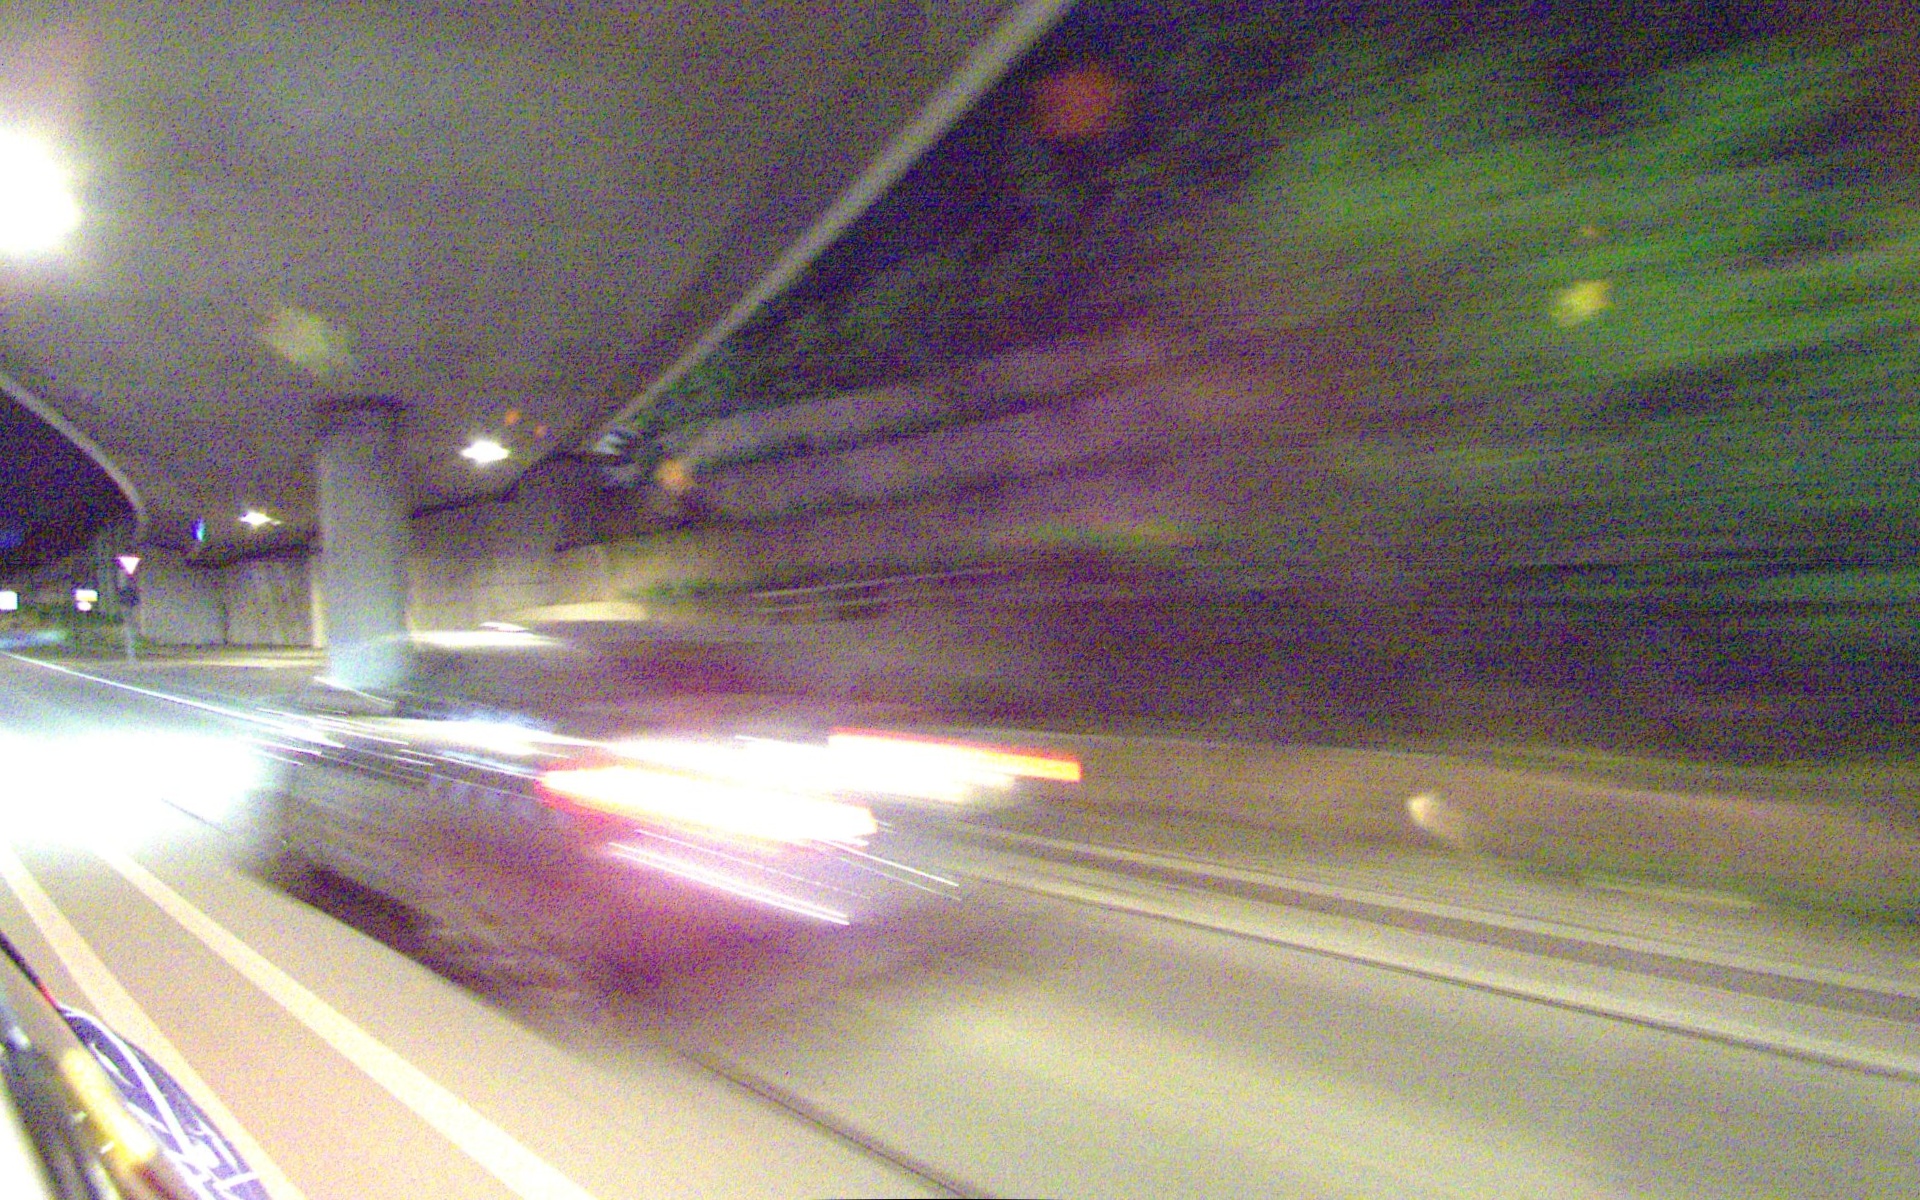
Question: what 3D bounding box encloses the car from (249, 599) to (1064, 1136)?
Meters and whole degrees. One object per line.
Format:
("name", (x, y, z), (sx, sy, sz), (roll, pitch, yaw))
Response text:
("car", (-1.726, 0.751, 4.853), (4.169, 1.458, 1.770), (0, 1, 41))
